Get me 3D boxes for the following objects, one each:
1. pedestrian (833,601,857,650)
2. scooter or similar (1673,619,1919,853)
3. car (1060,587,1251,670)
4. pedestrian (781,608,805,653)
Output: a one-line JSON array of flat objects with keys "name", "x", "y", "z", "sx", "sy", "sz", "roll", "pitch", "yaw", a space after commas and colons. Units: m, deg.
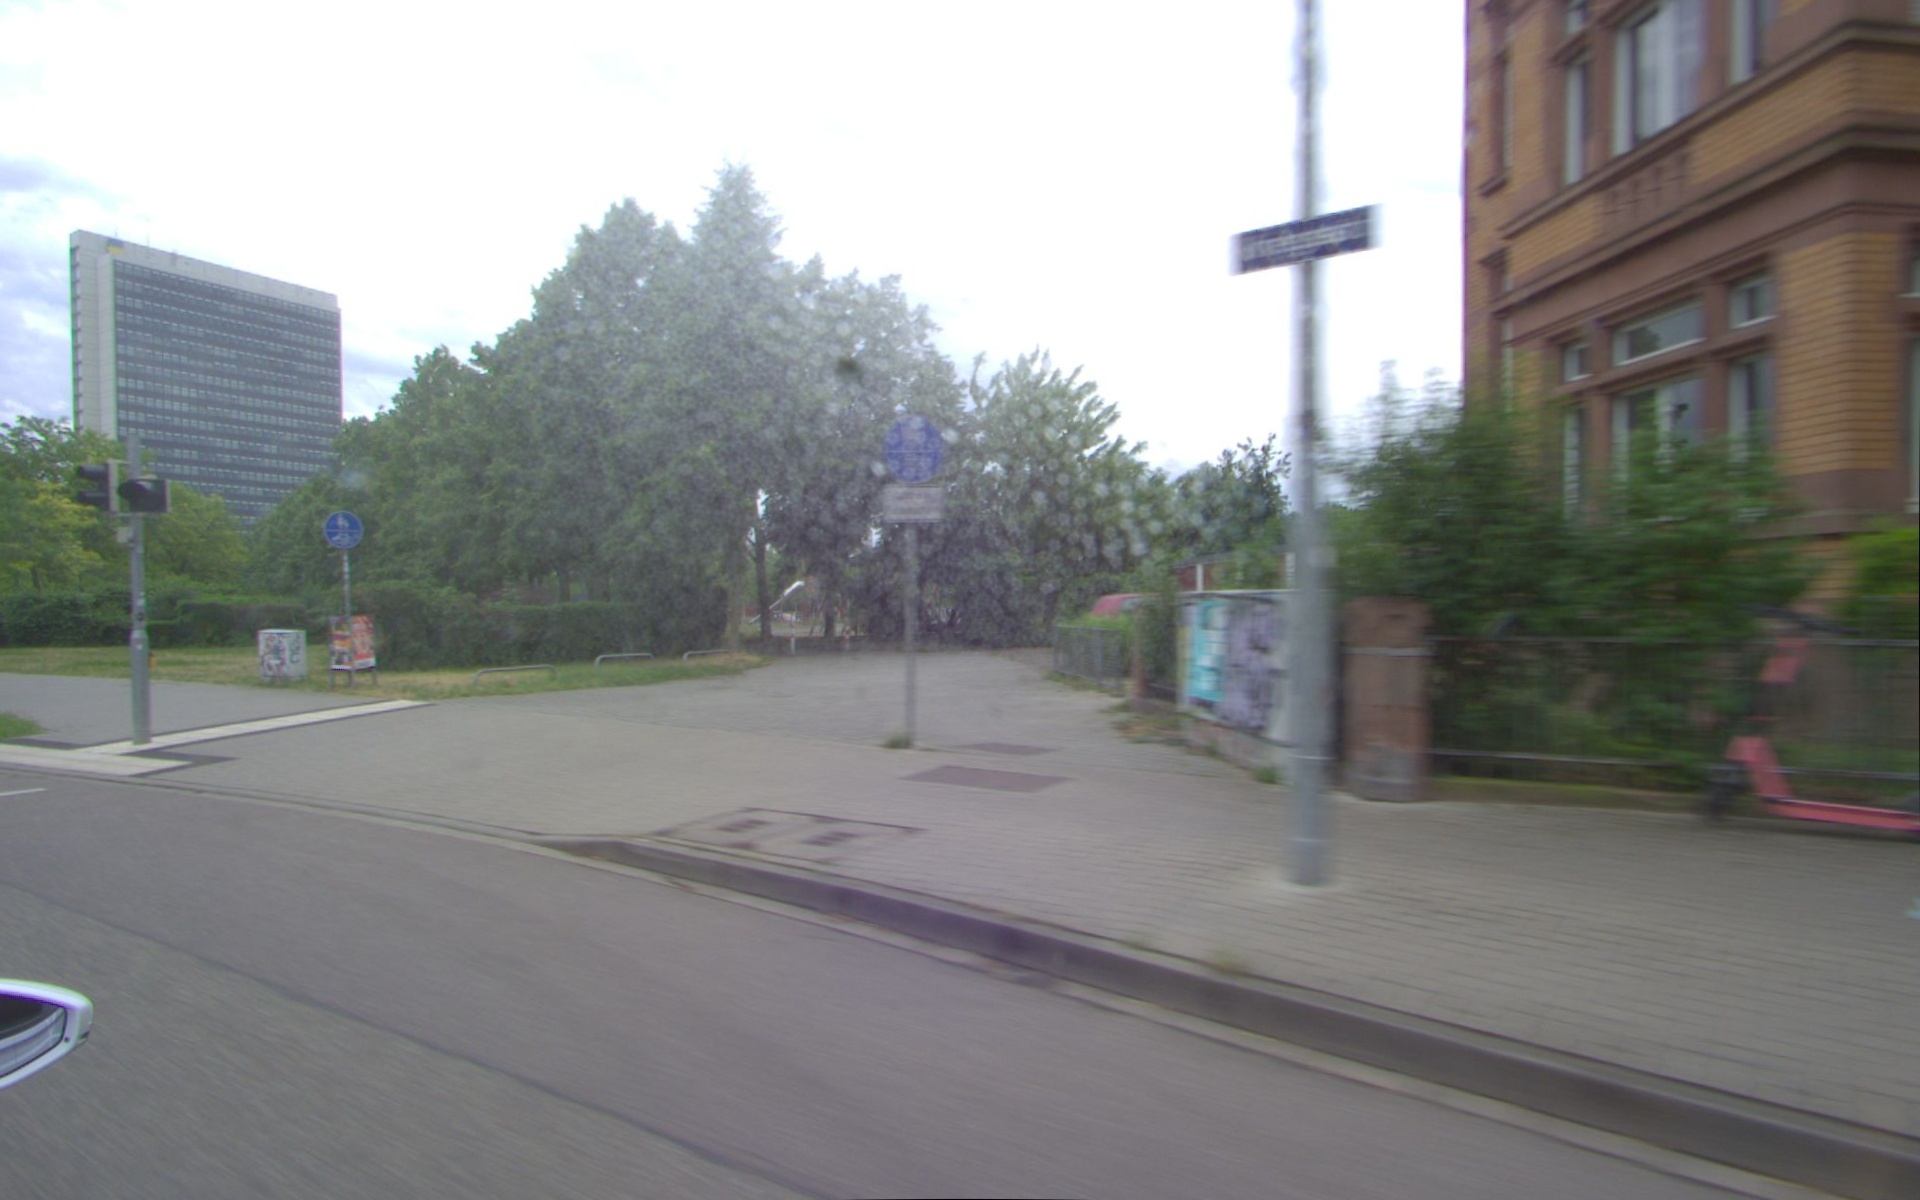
[{"name": "pedestrian", "x": -3.283, "y": 0.718, "z": 28.571, "sx": 0.582, "sy": 1.376, "sz": 0.625, "roll": 0, "pitch": 1, "yaw": -16}, {"name": "scooter or similar", "x": 4.528, "y": 0.683, "z": 5.282, "sx": 1.179, "sy": 1.156, "sz": 0.376, "roll": 0, "pitch": 1, "yaw": 23}, {"name": "car", "x": 3.810, "y": 0.543, "z": 19.920, "sx": 3.418, "sy": 1.471, "sz": 1.691, "roll": -2, "pitch": 1, "yaw": -2}, {"name": "pedestrian", "x": -4.569, "y": 0.835, "z": 27.363, "sx": 0.582, "sy": 1.199, "sz": 0.625, "roll": 0, "pitch": 1, "yaw": -16}]
